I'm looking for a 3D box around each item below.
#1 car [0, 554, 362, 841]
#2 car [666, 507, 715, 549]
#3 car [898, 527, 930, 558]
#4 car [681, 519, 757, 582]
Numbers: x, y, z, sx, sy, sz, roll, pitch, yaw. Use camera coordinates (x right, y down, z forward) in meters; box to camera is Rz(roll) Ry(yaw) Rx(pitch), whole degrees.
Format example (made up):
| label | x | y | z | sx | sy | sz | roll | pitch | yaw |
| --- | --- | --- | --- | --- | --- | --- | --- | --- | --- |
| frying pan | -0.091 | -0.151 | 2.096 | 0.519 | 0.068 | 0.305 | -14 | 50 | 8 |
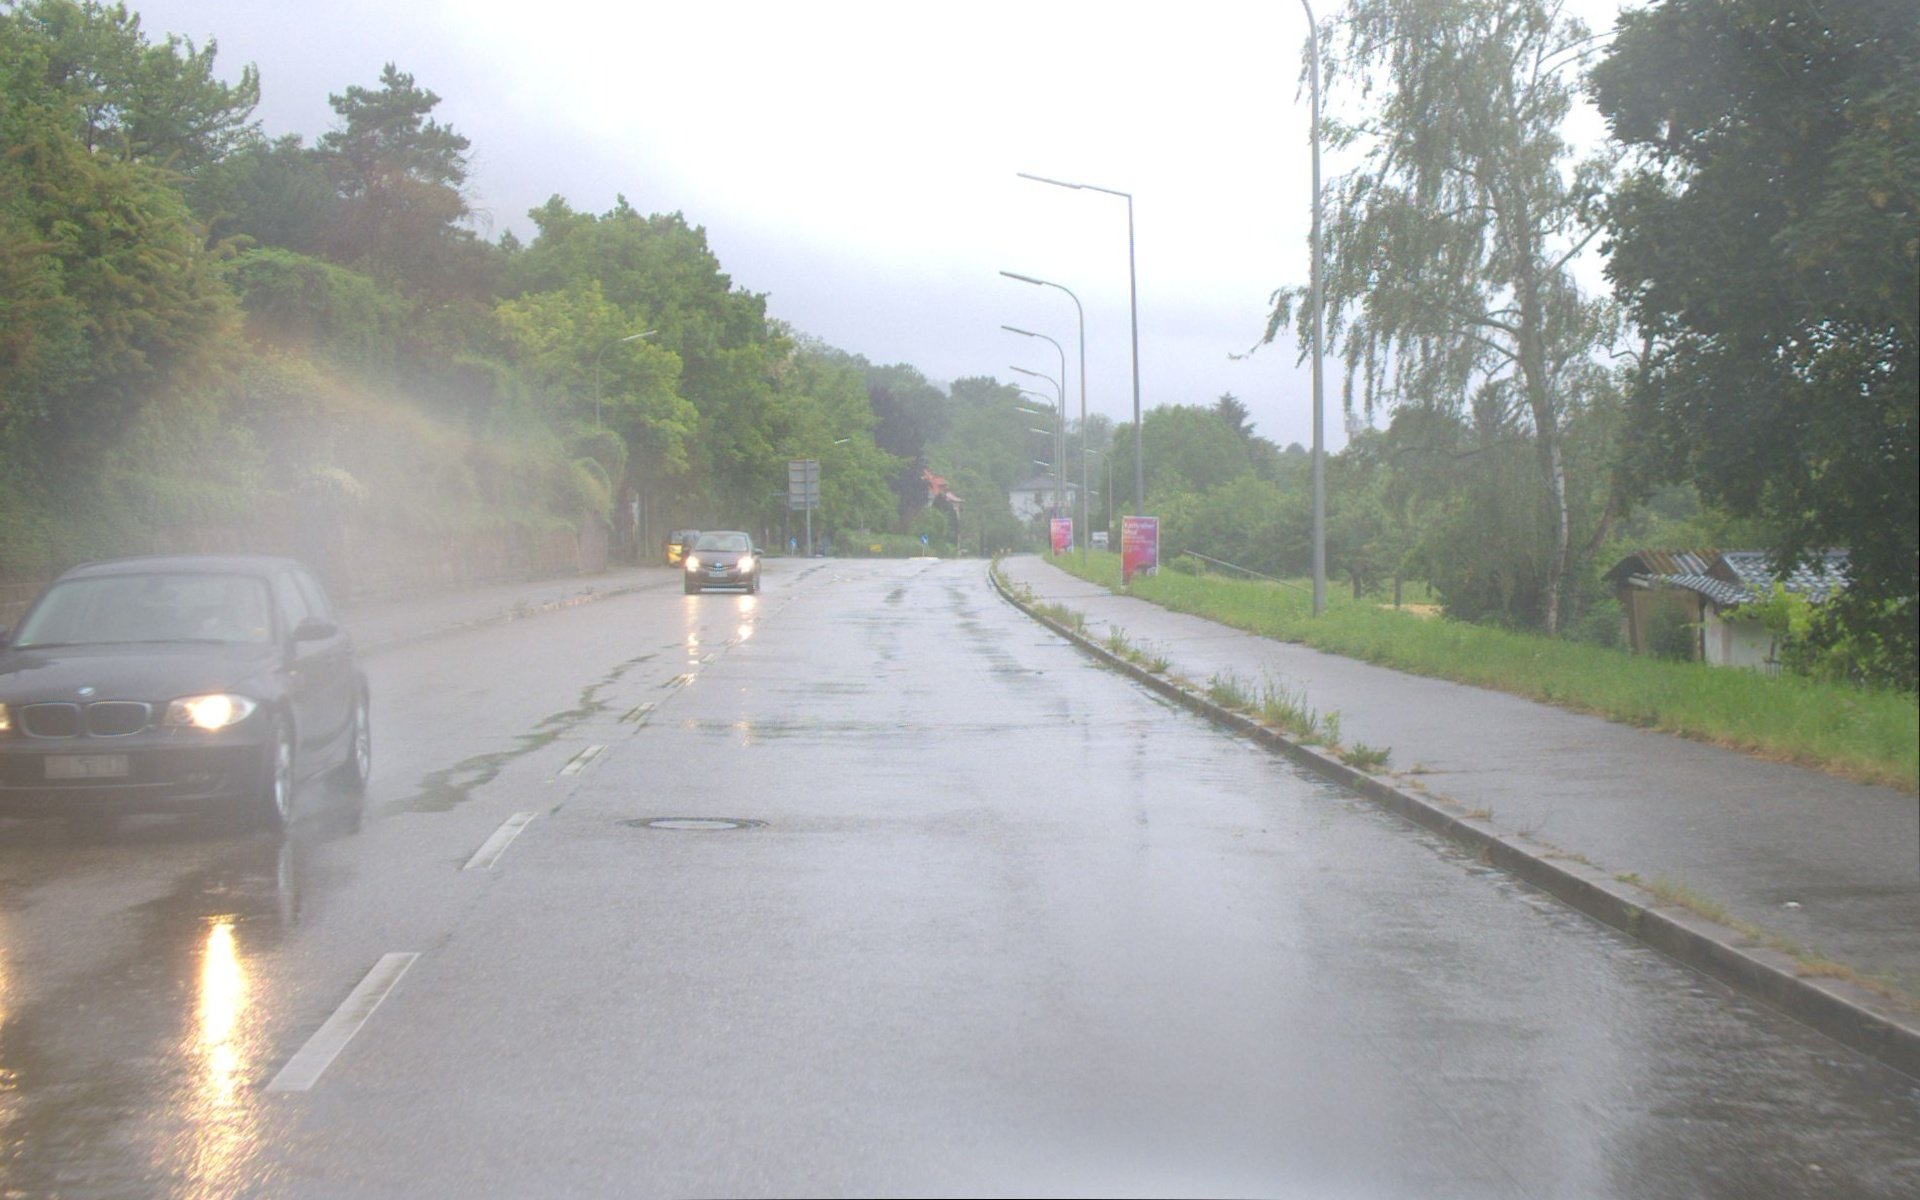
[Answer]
| label | x | y | z | sx | sy | sz | roll | pitch | yaw |
| --- | --- | --- | --- | --- | --- | --- | --- | --- | --- |
| car | -4.291 | 0.444 | 18.563 | 1.654 | 1.347 | 3.988 | -1 | 1 | -4 |
| car | -10.019 | -2.677 | 128.002 | 1.727 | 1.491 | 3.988 | -1 | 1 | -4 |
| car | -2.911 | -3.645 | 218.354 | 1.993 | 2.007 | 4.000 | 0 | 1 | -1 |
| car | -5.848 | -1.213 | 83.823 | 1.759 | 1.491 | 4.128 | -1 | 1 | -3 |
